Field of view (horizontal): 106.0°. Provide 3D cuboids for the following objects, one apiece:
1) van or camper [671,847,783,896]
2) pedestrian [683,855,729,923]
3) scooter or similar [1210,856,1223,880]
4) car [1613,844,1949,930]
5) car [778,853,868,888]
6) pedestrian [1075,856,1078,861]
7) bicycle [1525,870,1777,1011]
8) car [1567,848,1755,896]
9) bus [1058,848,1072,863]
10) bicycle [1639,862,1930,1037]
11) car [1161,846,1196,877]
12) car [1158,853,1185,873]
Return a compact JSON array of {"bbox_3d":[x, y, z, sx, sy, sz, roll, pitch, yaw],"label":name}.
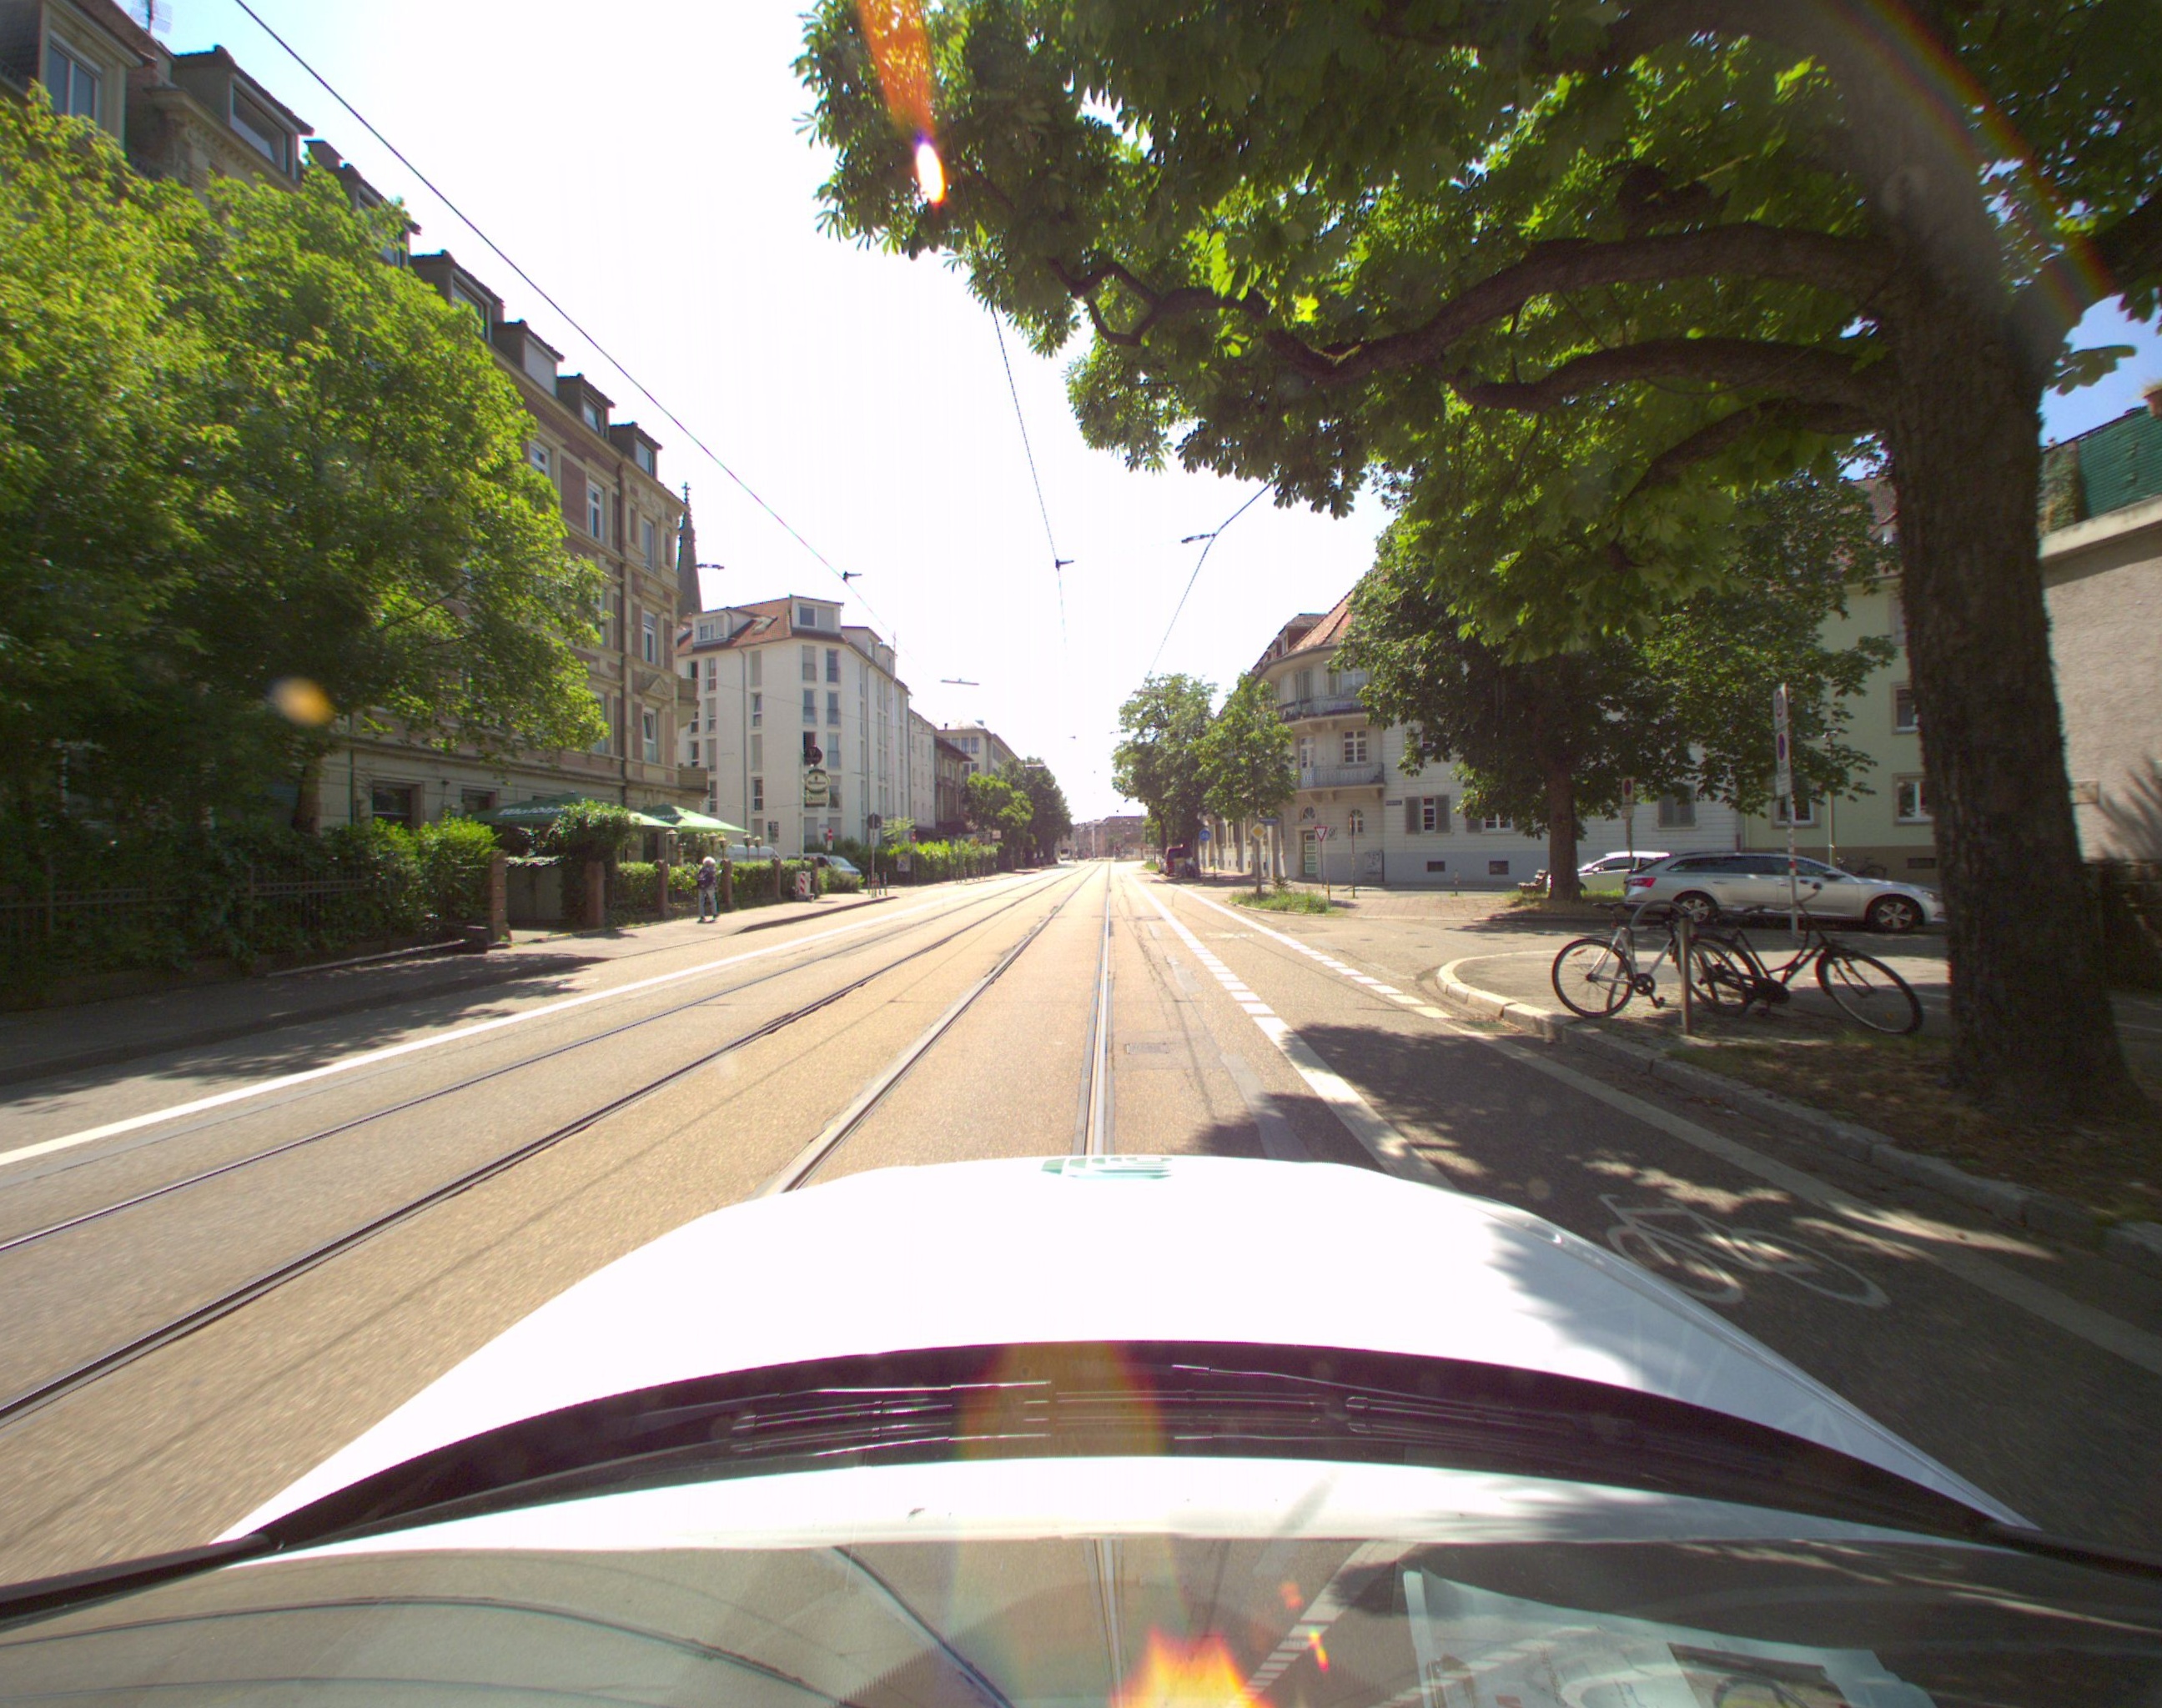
[{"bbox_3d":[-16.505,0.778,38.256,1.976,2.119,4.823,-1,0,21],"label":"van or camper"},{"bbox_3d":[-9.294,0.856,20.224,0.749,1.629,0.832,-1,0,-3],"label":"pedestrian"},{"bbox_3d":[7.307,0.749,43.905,0.499,1.230,1.574,-1,0,2],"label":"scooter or similar"},{"bbox_3d":[13.133,0.603,15.736,4.637,1.437,1.749,-2,0,29],"label":"car"},{"bbox_3d":[-14.579,0.941,46.013,4.444,1.904,2.010,-1,0,18],"label":"car"},{"bbox_3d":[-0.911,0.932,170.327,0.491,1.173,0.588,-2,0,-8],"label":"pedestrian"},{"bbox_3d":[4.966,0.739,7.155,1.809,1.113,0.493,-3,-1,1],"label":"bicycle"},{"bbox_3d":[18.090,0.566,25.705,4.637,1.389,1.749,-2,0,29],"label":"car"},{"bbox_3d":[-4.122,0.375,214.719,2.920,3.937,11.279,0,0,2],"label":"bus"},{"bbox_3d":[5.770,0.707,6.884,0.578,1.231,2.004,-2,-1,-3],"label":"bicycle"},{"bbox_3d":[6.669,0.466,56.279,1.985,2.035,4.699,-2,0,2],"label":"car"},{"bbox_3d":[7.074,0.708,63.773,1.778,1.473,3.773,-1,0,1],"label":"car"}]
